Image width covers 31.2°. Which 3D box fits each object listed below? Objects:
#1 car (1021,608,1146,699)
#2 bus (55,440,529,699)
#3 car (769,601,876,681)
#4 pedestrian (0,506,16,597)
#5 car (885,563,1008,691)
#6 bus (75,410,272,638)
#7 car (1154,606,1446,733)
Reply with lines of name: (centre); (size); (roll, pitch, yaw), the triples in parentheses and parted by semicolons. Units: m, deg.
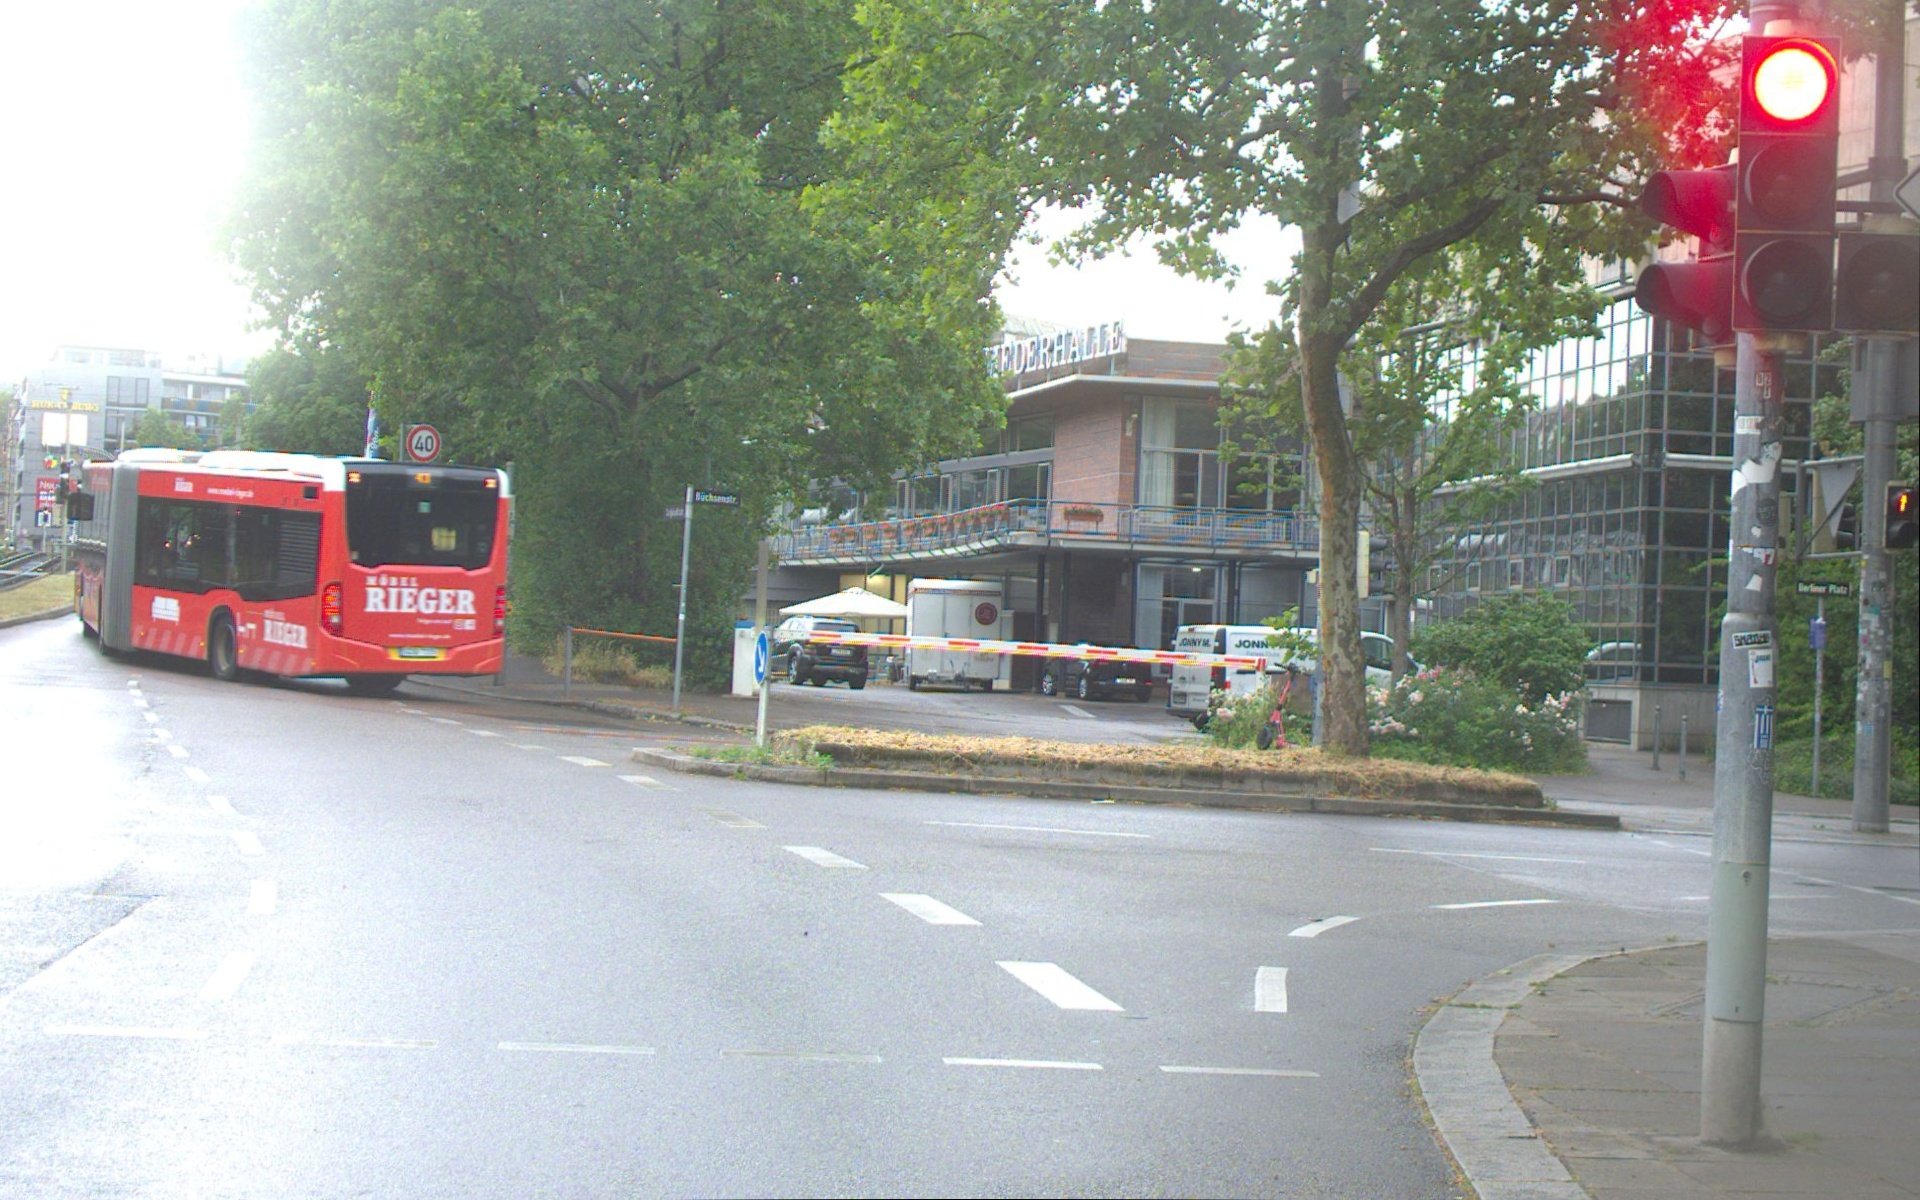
car: (3.003, 1.296, 84.529); (1.993, 2.007, 4.001); (4, -1, -13)
bus: (-9.370, -0.512, 47.164); (2.655, 3.100, 9.184); (4, -1, -35)
car: (-3.547, 1.032, 87.942); (1.993, 1.853, 4.001); (4, -1, -12)
pedestrian: (-17.575, -0.897, 62.126); (0.738, 1.634, 0.871); (4, -1, -6)
car: (-0.395, 0.697, 90.459); (2.544, 3.123, 5.032); (4, -1, -6)
bus: (-12.321, -1.114, 54.028); (2.549, 3.100, 9.458); (4, -1, -13)
car: (6.152, 1.251, 62.151); (4.745, 1.937, 2.001); (4, -1, -22)
